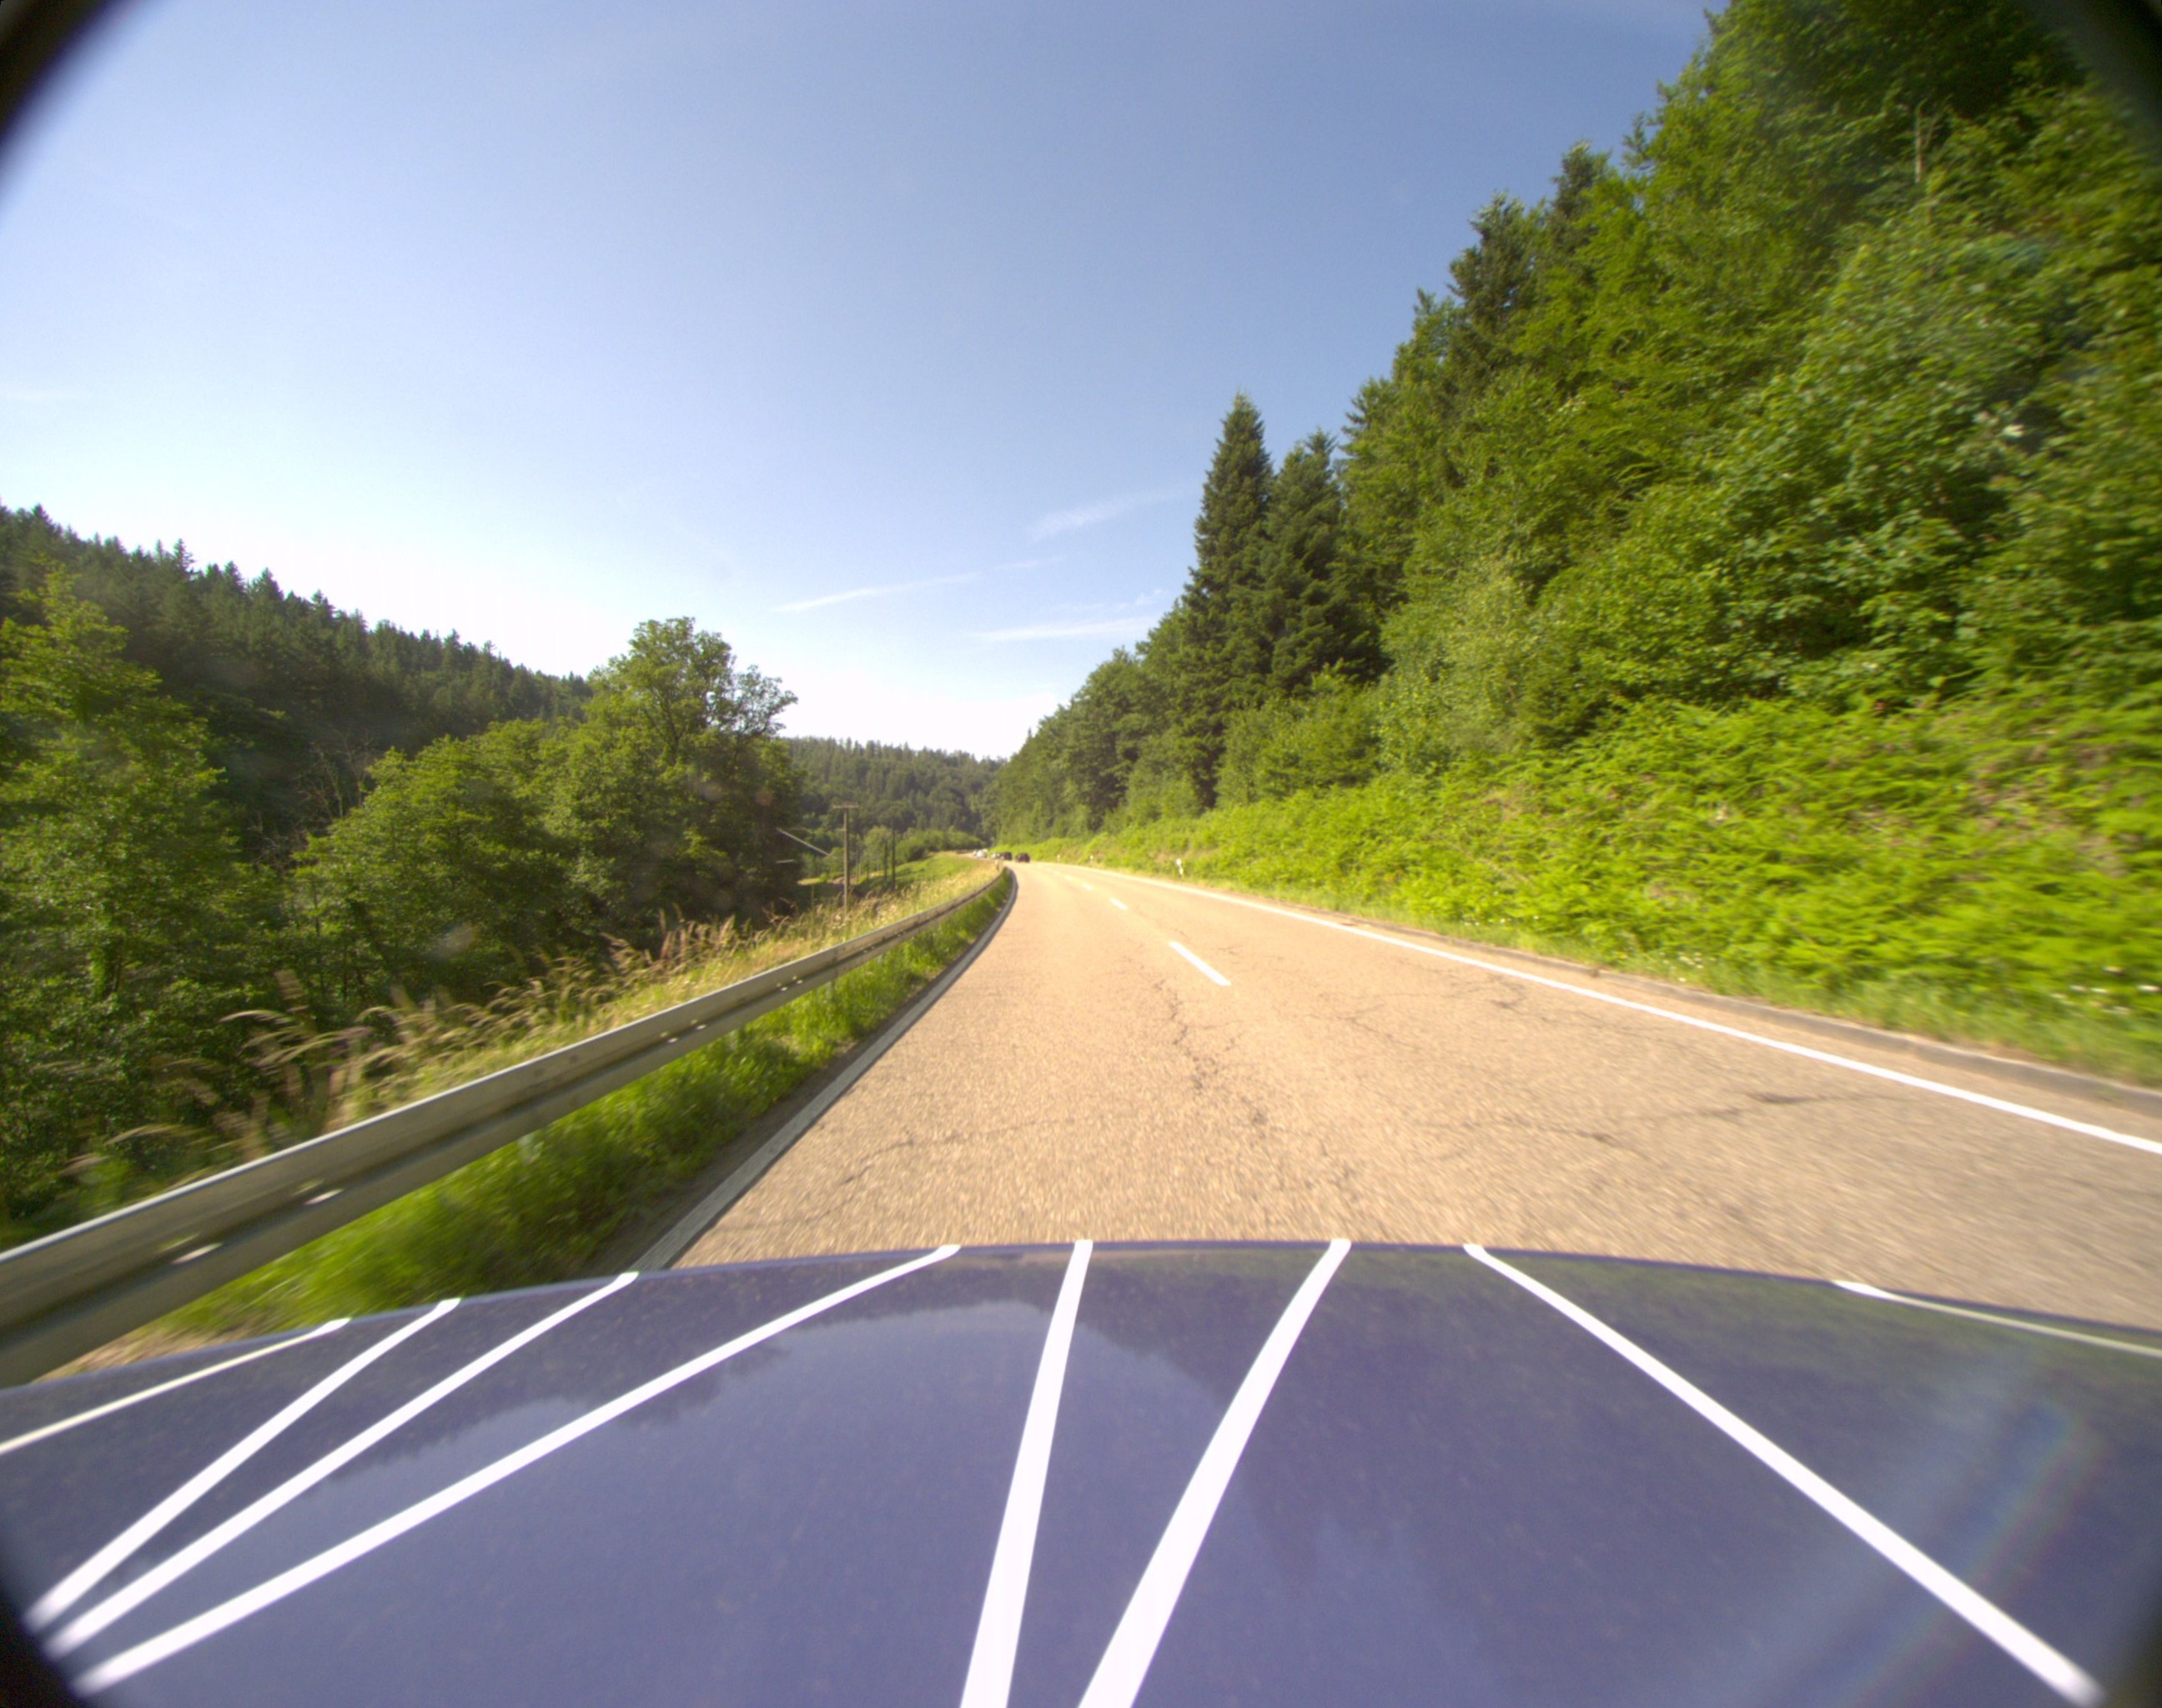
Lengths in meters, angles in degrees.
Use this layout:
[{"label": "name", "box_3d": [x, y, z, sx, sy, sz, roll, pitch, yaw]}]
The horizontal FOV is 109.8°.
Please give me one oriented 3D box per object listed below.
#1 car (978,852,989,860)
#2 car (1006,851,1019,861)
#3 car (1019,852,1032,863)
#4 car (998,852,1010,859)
[{"label": "car", "box_3d": [-22.030, 0.398, 171.348, 2.000, 1.673, 4.901, -1, 0, -11]}, {"label": "car", "box_3d": [-11.841, 0.294, 131.386, 1.838, 1.619, 4.348, -1, 0, -9]}, {"label": "car", "box_3d": [-8.147, 0.522, 111.040, 1.863, 1.520, 3.998, -1, 0, -6]}, {"label": "car", "box_3d": [-14.746, 0.301, 145.108, 1.839, 1.422, 4.674, -1, 0, -10]}]
